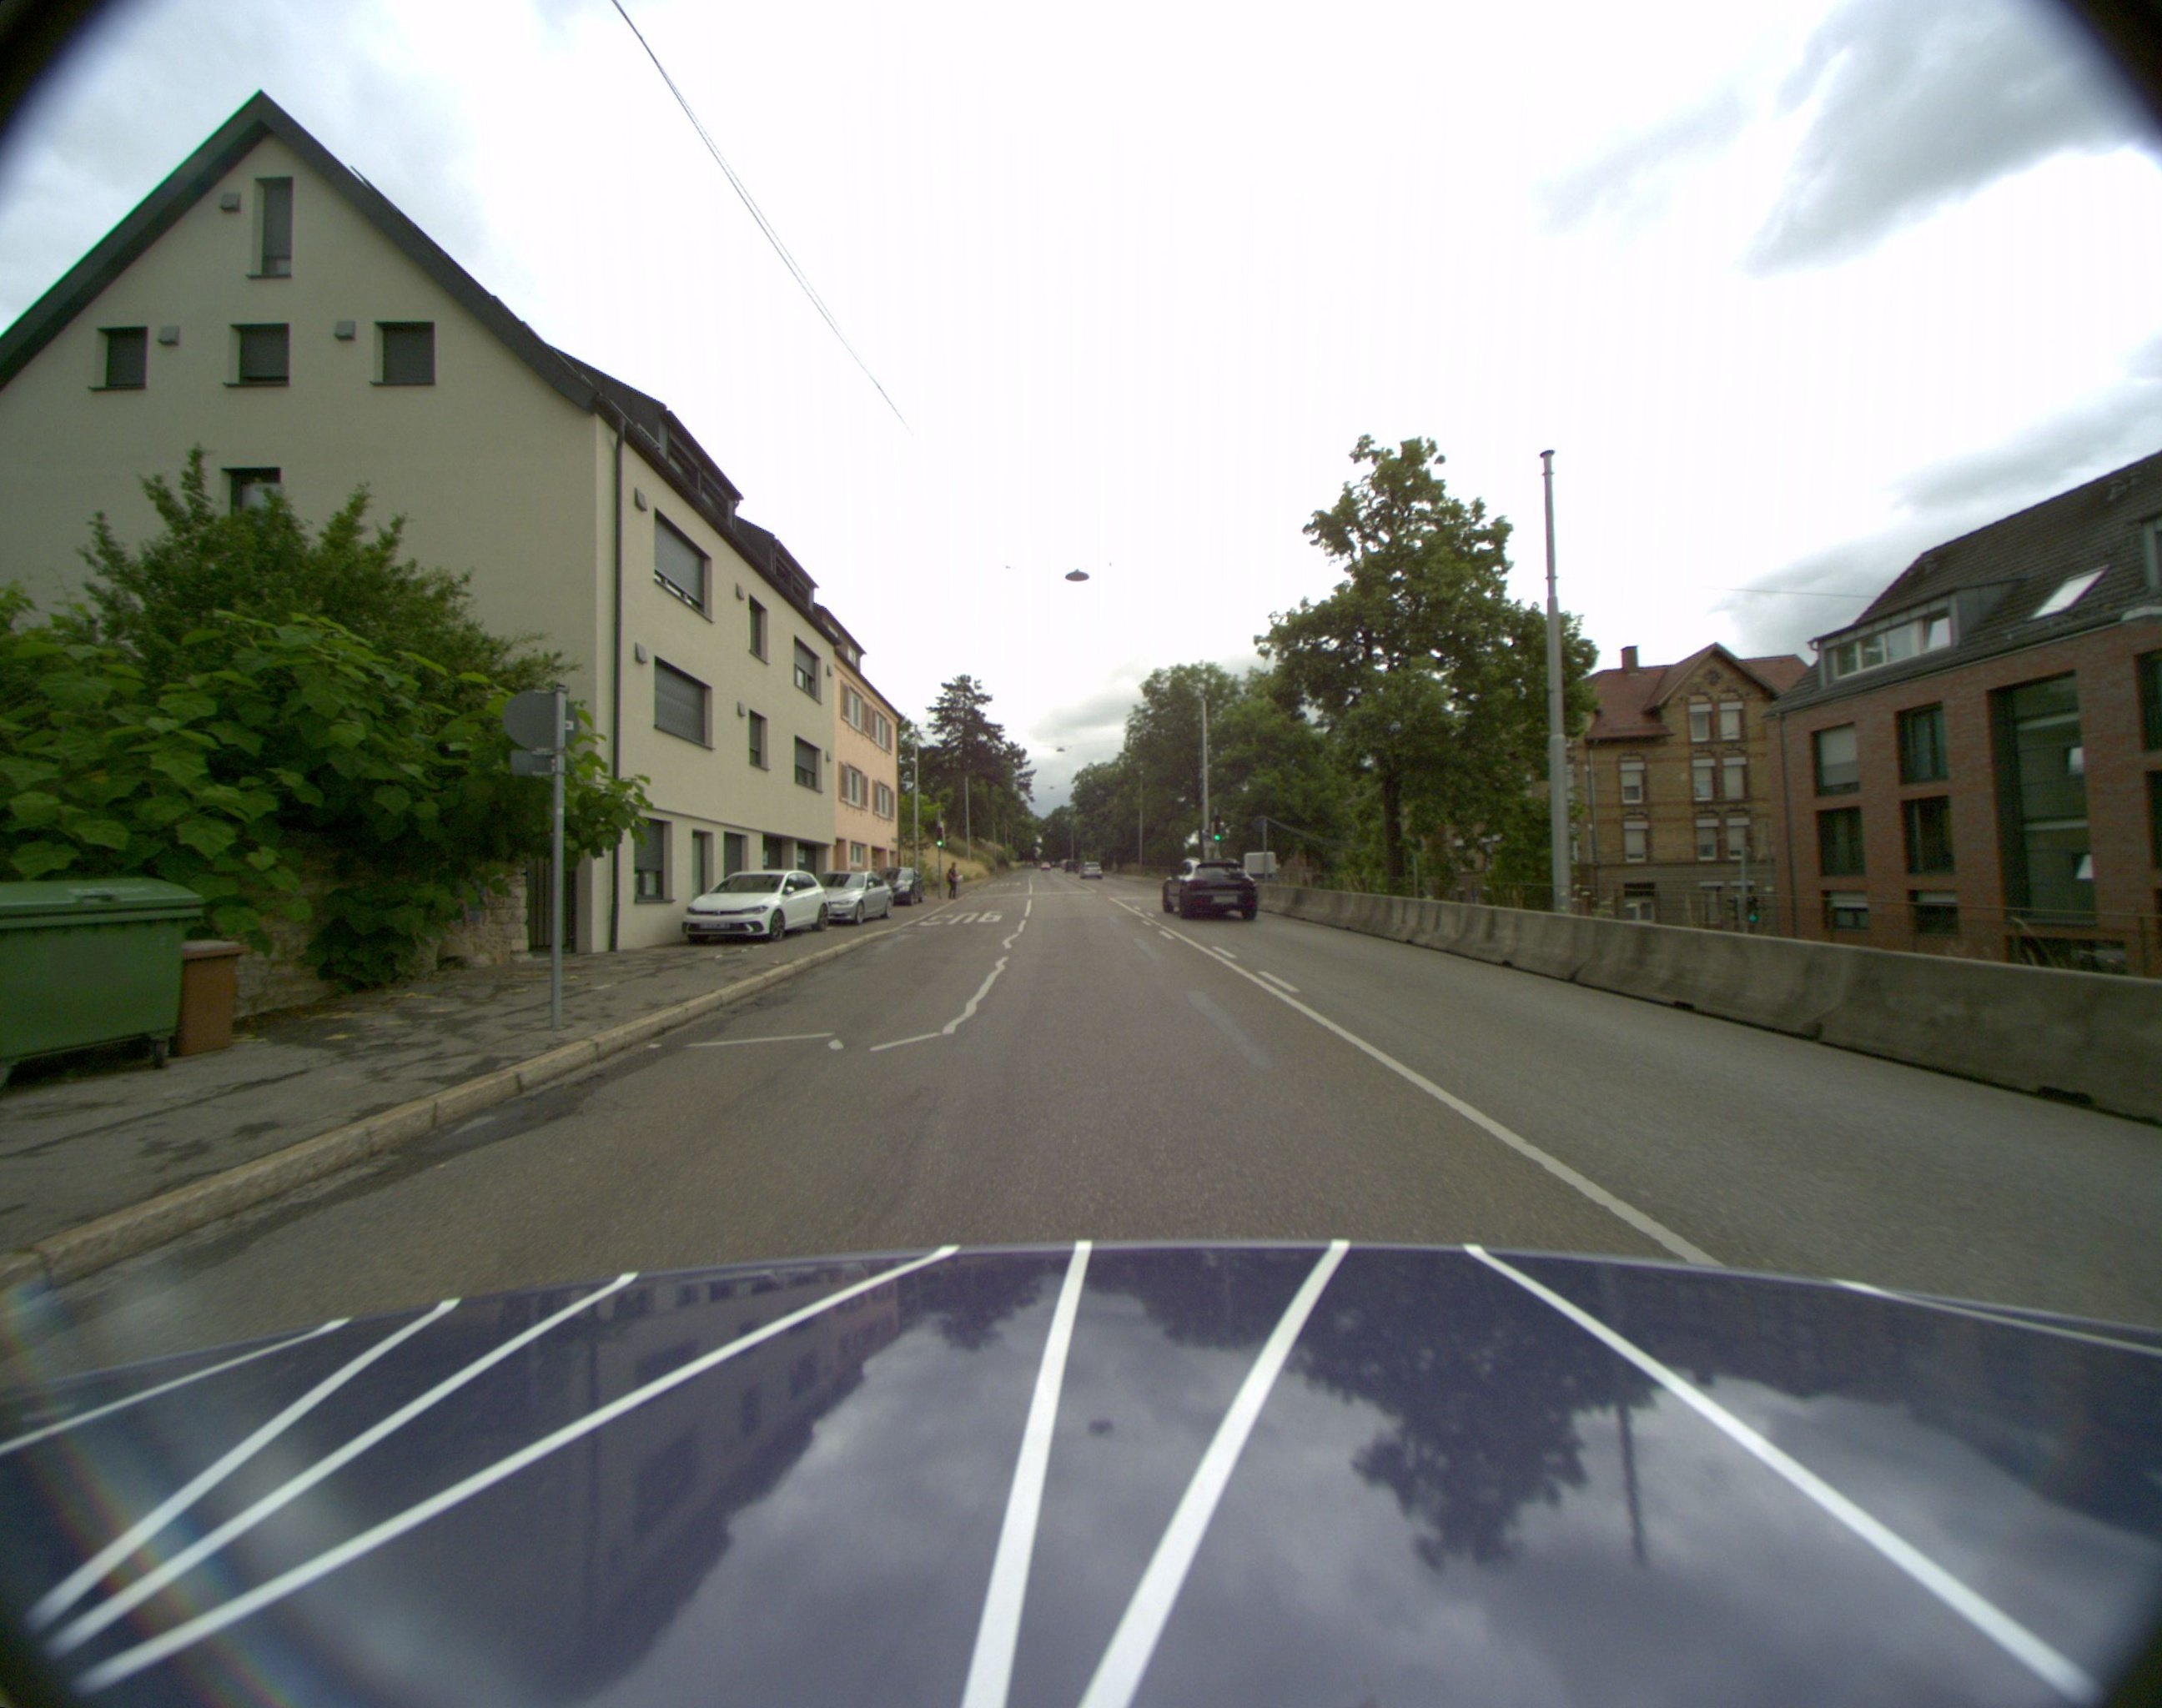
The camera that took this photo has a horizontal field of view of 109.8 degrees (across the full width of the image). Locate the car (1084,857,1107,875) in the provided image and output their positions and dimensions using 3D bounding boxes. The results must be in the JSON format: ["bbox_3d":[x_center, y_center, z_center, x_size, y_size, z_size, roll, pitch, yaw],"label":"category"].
[{"bbox_3d":[1.226,1.030,66.419,1.725,1.436,4.157,-1,0,-3],"label":"car"}]

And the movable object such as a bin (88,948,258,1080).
[{"bbox_3d":[-7.474,1.298,6.284,0.596,0.936,0.640,-1,1,-2],"label":"movable object such as a bin"}]

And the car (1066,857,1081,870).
[{"bbox_3d":[-1.108,1.292,105.324,1.789,1.735,4.427,0,0,-4],"label":"car"}]

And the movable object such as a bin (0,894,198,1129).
[{"bbox_3d":[-7.444,1.042,5.327,1.050,1.436,1.205,-1,1,-2],"label":"movable object such as a bin"}]

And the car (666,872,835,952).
[{"bbox_3d":[-6.813,1.125,16.181,1.798,1.415,4.005,0,0,1],"label":"car"}]

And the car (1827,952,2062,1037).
[{"bbox_3d":[22.438,3.588,20.017,1.798,1.501,4.002,0,0,4],"label":"car"}]

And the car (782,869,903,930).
[{"bbox_3d":[-6.468,1.172,21.214,1.799,1.442,4.719,2,-1,1],"label":"car"}]

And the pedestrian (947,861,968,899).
[{"bbox_3d":[-5.728,1.197,35.179,0.873,1.686,0.888,-2,1,-14],"label":"pedestrian"}]

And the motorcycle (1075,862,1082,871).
[{"bbox_3d":[-0.282,1.639,97.414,0.787,1.139,2.056,0,0,-3],"label":"motorcycle"}]

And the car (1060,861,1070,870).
[{"bbox_3d":[-3.116,2.152,145.412,1.789,1.565,4.279,0,0,-3],"label":"car"}]

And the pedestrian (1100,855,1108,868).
[{"bbox_3d":[3.080,0.990,100.491,0.791,1.763,1.208,-4,0,-5],"label":"pedestrian"}]

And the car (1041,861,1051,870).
[{"bbox_3d":[-6.053,2.024,131.272,1.789,1.565,4.279,0,0,-3],"label":"car"}]

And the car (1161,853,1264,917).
[{"bbox_3d":[3.504,0.811,21.076,1.987,1.565,4.375,0,-1,-2],"label":"car"}]

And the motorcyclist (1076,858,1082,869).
[{"bbox_3d":[-0.283,1.228,97.477,0.787,1.507,0.668,0,0,-3],"label":"motorcyclist"}]

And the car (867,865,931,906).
[{"bbox_3d":[-7.117,1.192,30.100,1.686,1.442,3.999,2,0,-3],"label":"car"}]
